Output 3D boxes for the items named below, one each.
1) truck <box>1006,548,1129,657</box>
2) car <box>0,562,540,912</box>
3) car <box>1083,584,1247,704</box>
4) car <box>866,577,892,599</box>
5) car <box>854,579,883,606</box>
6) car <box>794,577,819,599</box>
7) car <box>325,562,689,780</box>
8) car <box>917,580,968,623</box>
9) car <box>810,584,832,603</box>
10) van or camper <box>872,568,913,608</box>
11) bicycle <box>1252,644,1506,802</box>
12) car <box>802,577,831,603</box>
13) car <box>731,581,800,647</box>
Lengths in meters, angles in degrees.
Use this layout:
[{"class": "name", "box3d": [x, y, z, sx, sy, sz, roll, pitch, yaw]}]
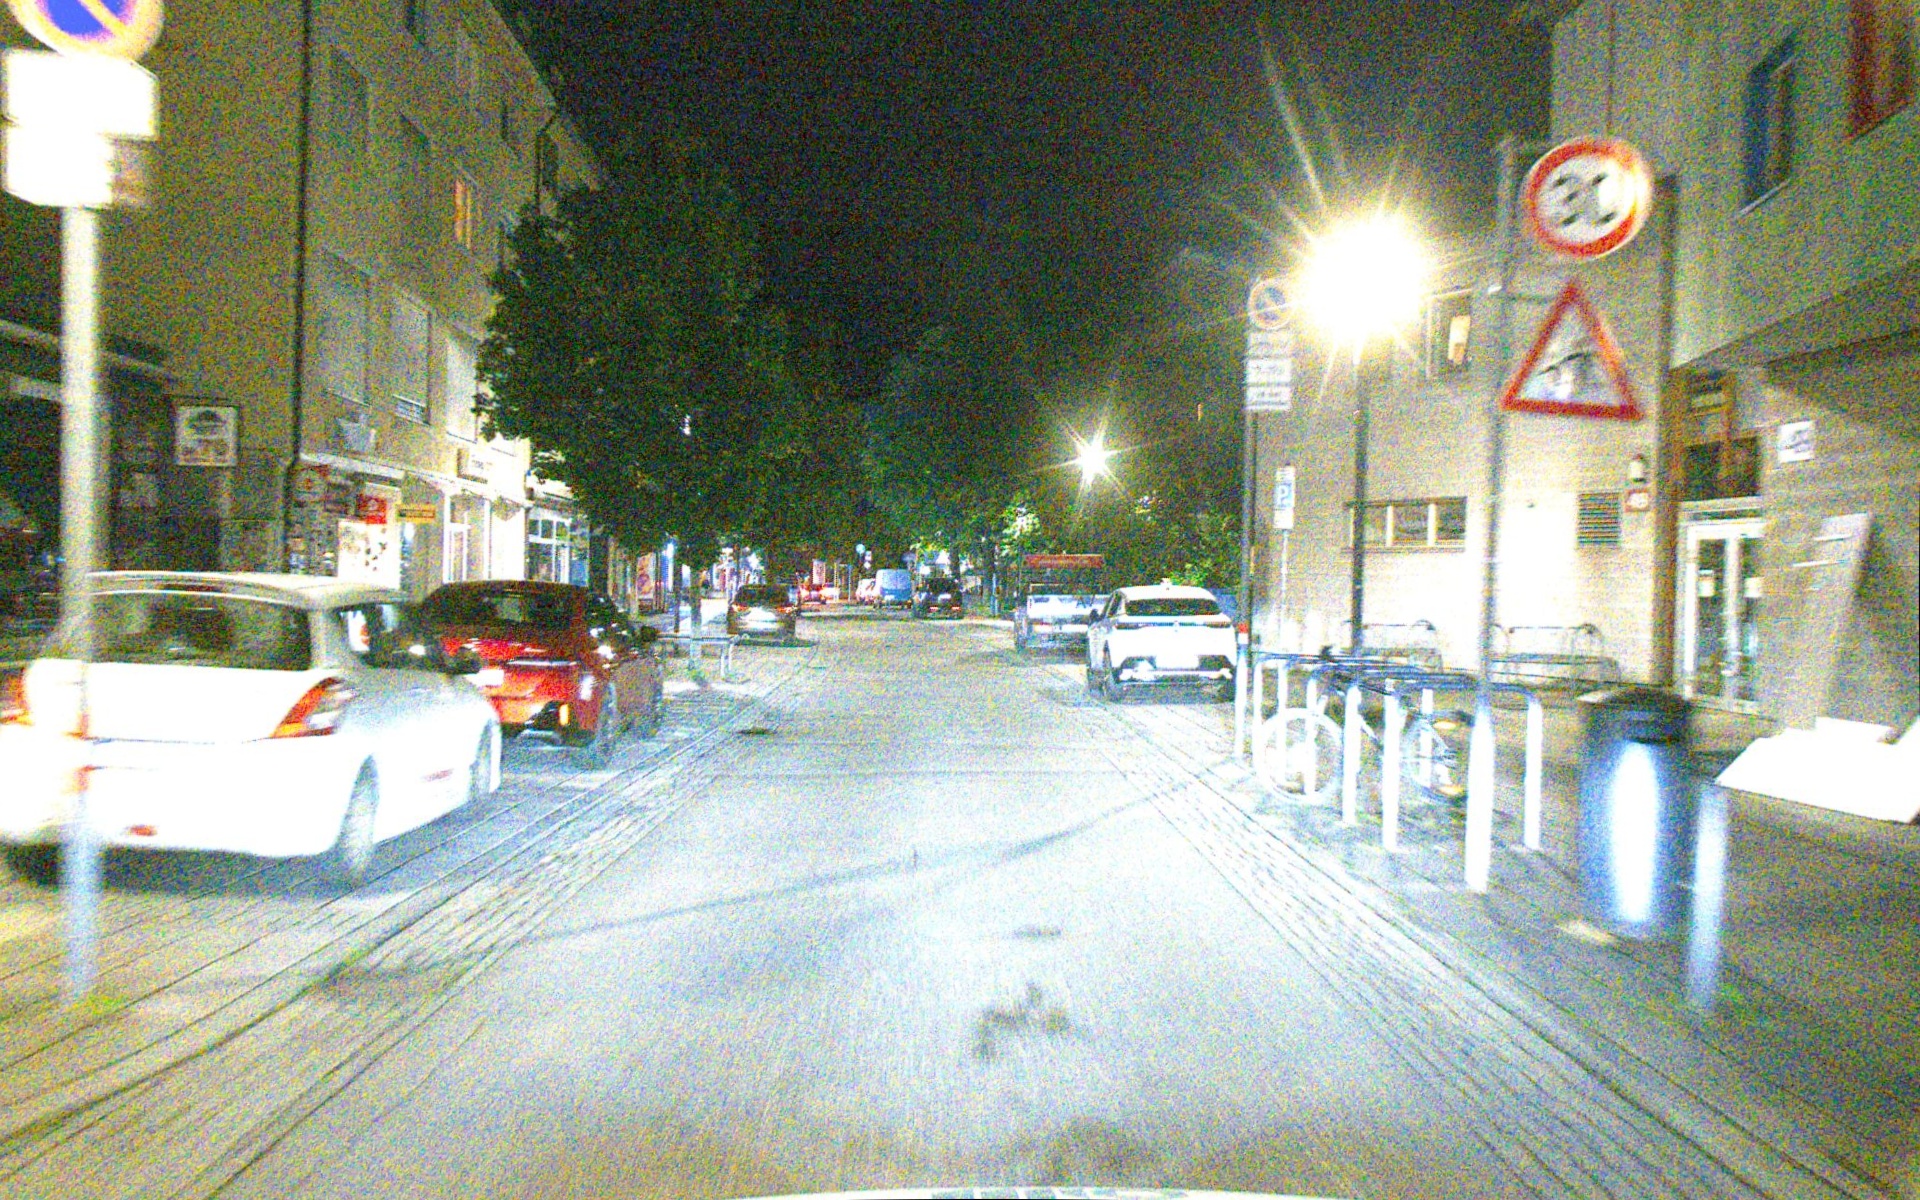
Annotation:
[{"class": "truck", "box3d": [2.404, 0.018, 38.650, 2.289, 2.352, 5.778, 0, 1, -2]}, {"class": "car", "box3d": [-3.647, 0.593, 9.260, 1.694, 1.502, 3.845, 2, 0, -2]}, {"class": "car", "box3d": [2.783, 0.543, 23.238, 1.753, 1.517, 4.058, -1, 0, -1]}, {"class": "car", "box3d": [-5.541, -0.826, 112.495, 1.502, 1.443, 3.840, 1, 0, -7]}, {"class": "car", "box3d": [-6.550, -0.554, 118.421, 1.804, 1.934, 3.840, 1, 0, -7]}, {"class": "car", "box3d": [-12.445, -1.006, 133.962, 1.955, 1.732, 3.995, 1, 0, -6]}, {"class": "car", "box3d": [-3.804, 0.513, 14.920, 1.979, 1.513, 5.006, 4, 0, -2]}, {"class": "car", "box3d": [-0.831, 0.035, 73.966, 1.780, 1.860, 4.340, 0, 1, -7]}, {"class": "car", "box3d": [-12.237, -0.576, 145.847, 1.804, 1.569, 3.840, 1, 0, -7]}, {"class": "van or camper", "box3d": [-4.101, -0.753, 99.848, 2.069, 2.357, 4.254, 0, 1, -8]}, {"class": "bicycle", "box3d": [2.957, 0.864, 11.703, 1.720, 1.080, 0.346, 1, 0, -4]}, {"class": "car", "box3d": [-10.435, -0.744, 120.290, 1.955, 1.855, 3.995, 1, 0, -6]}, {"class": "car", "box3d": [-5.054, 0.319, 42.808, 1.642, 1.570, 4.224, 2, 0, -7]}]
